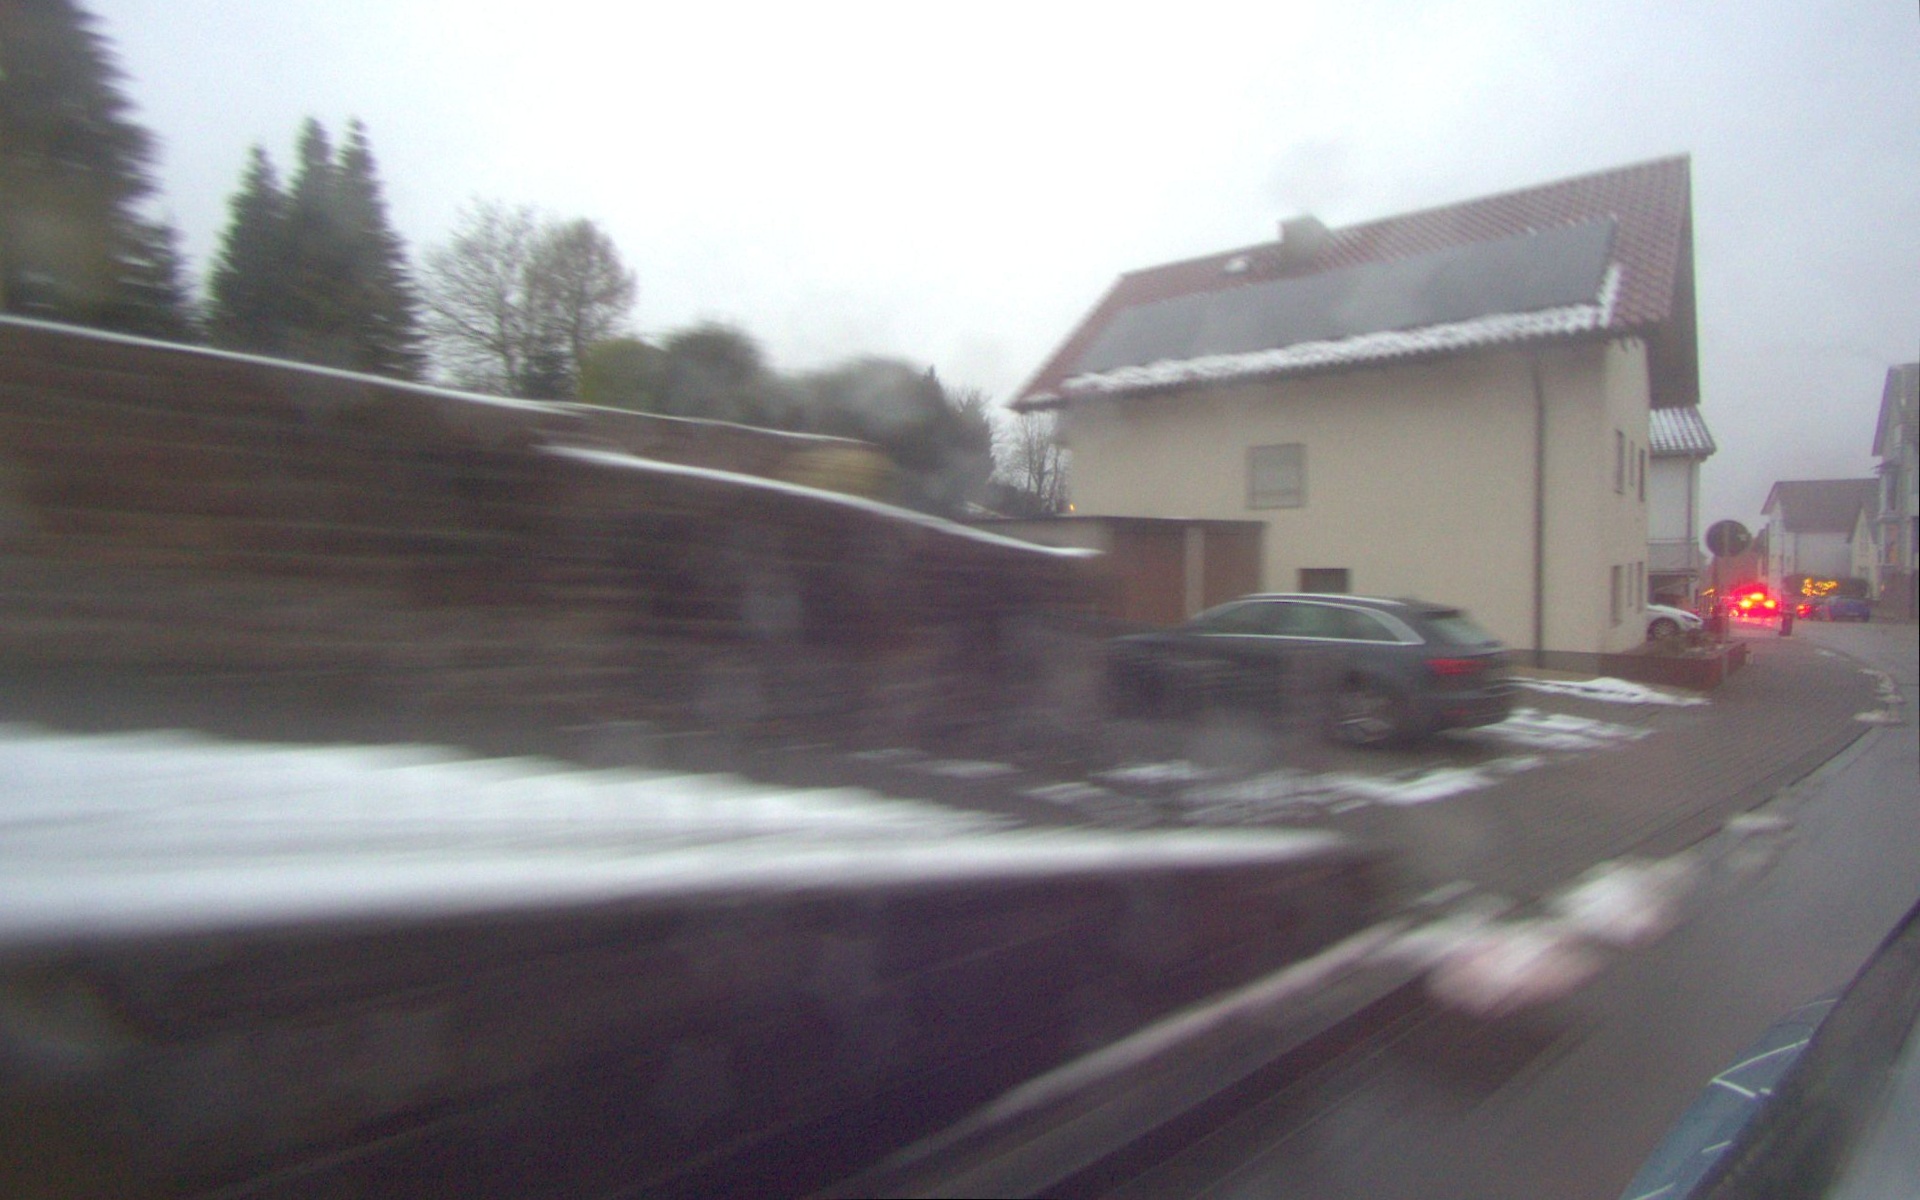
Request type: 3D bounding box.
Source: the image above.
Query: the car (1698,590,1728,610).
[{"bbox_3d":[71.752,0.007,96.486,1.762,1.815,4.084,2,0,30],"label":"car"}]

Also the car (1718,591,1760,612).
[{"bbox_3d":[64.343,0.106,83.635,1.906,1.644,4.380,2,1,27],"label":"car"}]

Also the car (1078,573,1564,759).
[{"bbox_3d":[3.671,0.523,10.912,1.967,1.461,4.508,0,2,-44],"label":"car"}]

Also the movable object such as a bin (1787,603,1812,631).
[{"bbox_3d":[31.362,0.633,37.825,0.613,0.957,0.587,5,5,36],"label":"movable object such as a bin"}]

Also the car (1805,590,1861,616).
[{"bbox_3d":[50.529,0.160,58.659,1.655,1.435,3.654,-1,0,28],"label":"car"}]

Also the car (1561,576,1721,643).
[{"bbox_3d":[21.572,0.248,32.258,3.973,1.473,1.672,10,6,31],"label":"car"}]

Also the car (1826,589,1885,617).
[{"bbox_3d":[48.702,0.157,55.104,1.659,1.427,3.872,1,0,30],"label":"car"}]

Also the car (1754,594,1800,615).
[{"bbox_3d":[59.107,0.317,73.282,1.723,1.462,4.396,1,1,28],"label":"car"}]

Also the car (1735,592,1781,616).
[{"bbox_3d":[54.069,0.247,68.637,1.764,1.514,4.334,2,1,29],"label":"car"}]

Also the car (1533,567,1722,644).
[{"bbox_3d":[19.109,0.088,29.084,4.275,1.473,1.756,11,7,36],"label":"car"}]
